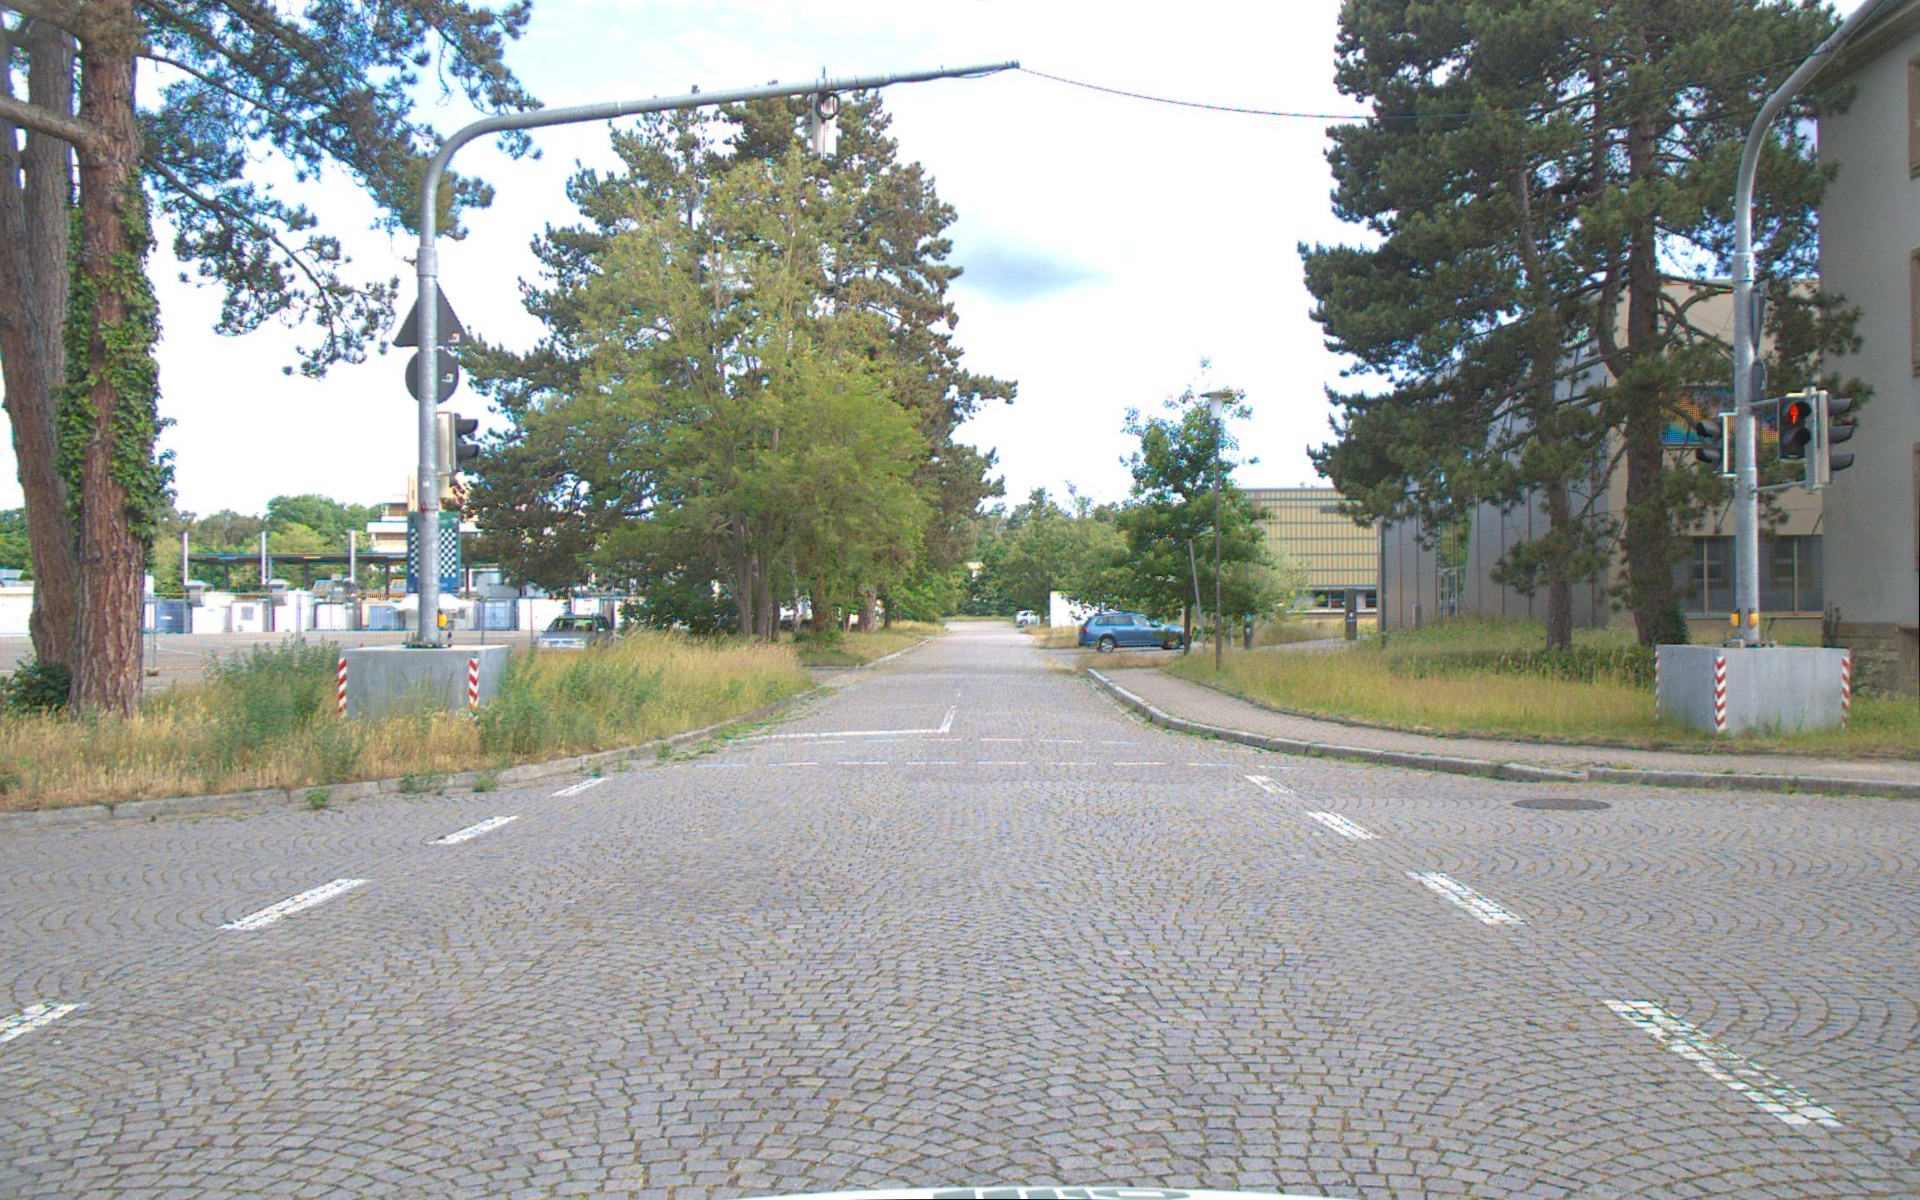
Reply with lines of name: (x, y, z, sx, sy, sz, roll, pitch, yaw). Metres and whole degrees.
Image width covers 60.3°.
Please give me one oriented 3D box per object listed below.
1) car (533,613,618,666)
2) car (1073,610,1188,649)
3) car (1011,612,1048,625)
car: (-11.642, 1.163, 50.242, 1.579, 1.513, 4.000, 0, 0, 1)
car: (6.657, 1.148, 64.910, 4.256, 1.447, 1.999, 0, 0, -1)
car: (7.651, 2.032, 181.991, 3.909, 1.422, 1.998, 0, 0, -5)
